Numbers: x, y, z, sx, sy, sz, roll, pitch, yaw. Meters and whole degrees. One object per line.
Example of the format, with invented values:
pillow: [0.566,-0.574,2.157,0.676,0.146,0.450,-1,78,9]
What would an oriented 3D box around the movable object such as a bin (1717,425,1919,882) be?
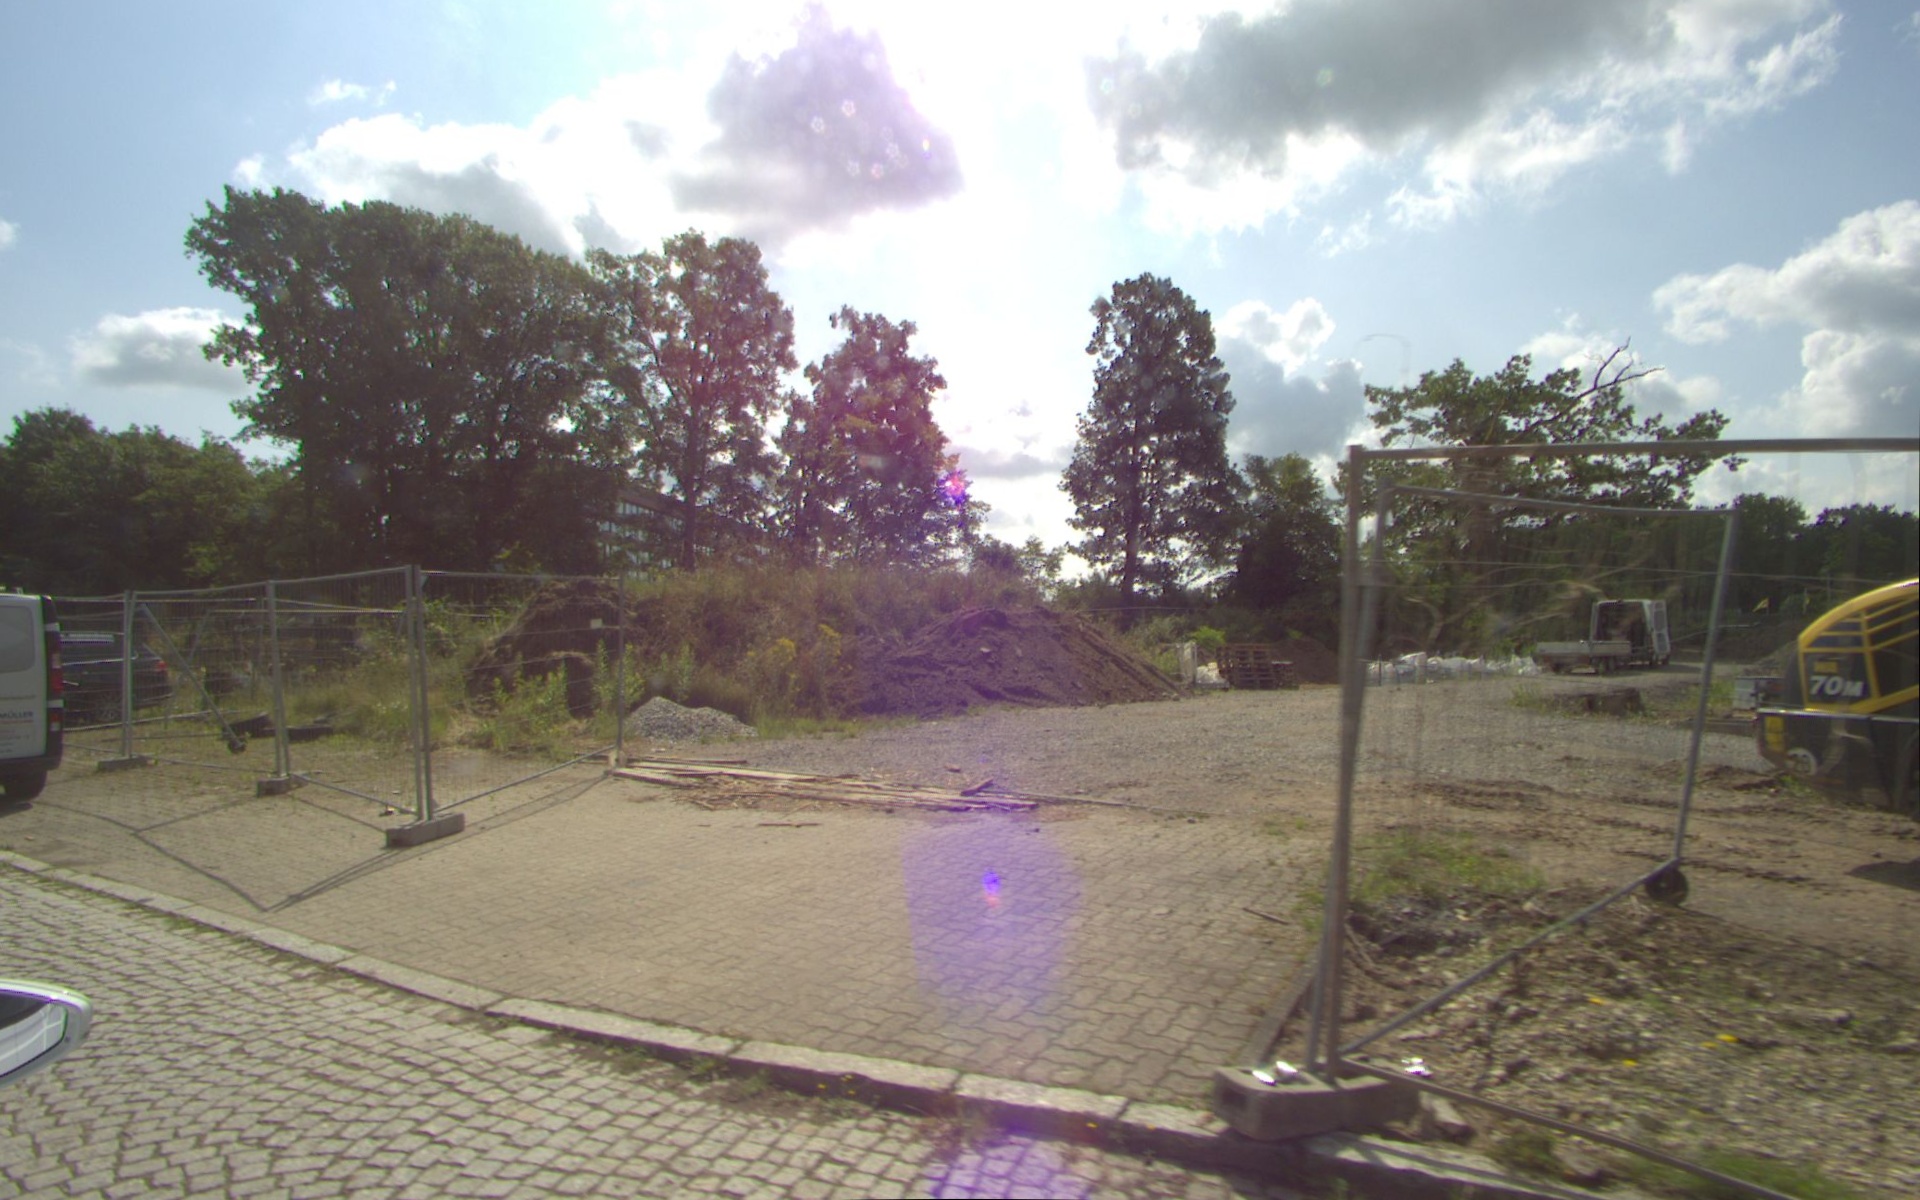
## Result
movable object such as a bin: [7.195,0.292,4.559,2.119,2.555,5.626,0,0,-30]

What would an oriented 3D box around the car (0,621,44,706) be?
car: [-18.821,1.175,17.374,1.720,1.526,3.983,-1,0,28]

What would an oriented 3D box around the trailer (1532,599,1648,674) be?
trailer: [22.417,1.269,35.564,4.786,2.504,1.947,1,-1,-37]

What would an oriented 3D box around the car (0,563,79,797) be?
car: [-11.107,0.761,10.062,5.598,2.080,1.910,-1,-1,32]

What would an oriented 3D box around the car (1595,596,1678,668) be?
car: [26.405,1.236,38.999,2.220,2.624,5.399,-1,-2,39]

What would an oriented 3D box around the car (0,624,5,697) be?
car: [-21.279,1.249,19.147,1.678,1.483,4.038,-1,0,28]

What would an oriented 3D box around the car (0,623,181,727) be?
car: [-14.866,1.145,15.228,1.718,1.494,4.451,-1,0,27]
